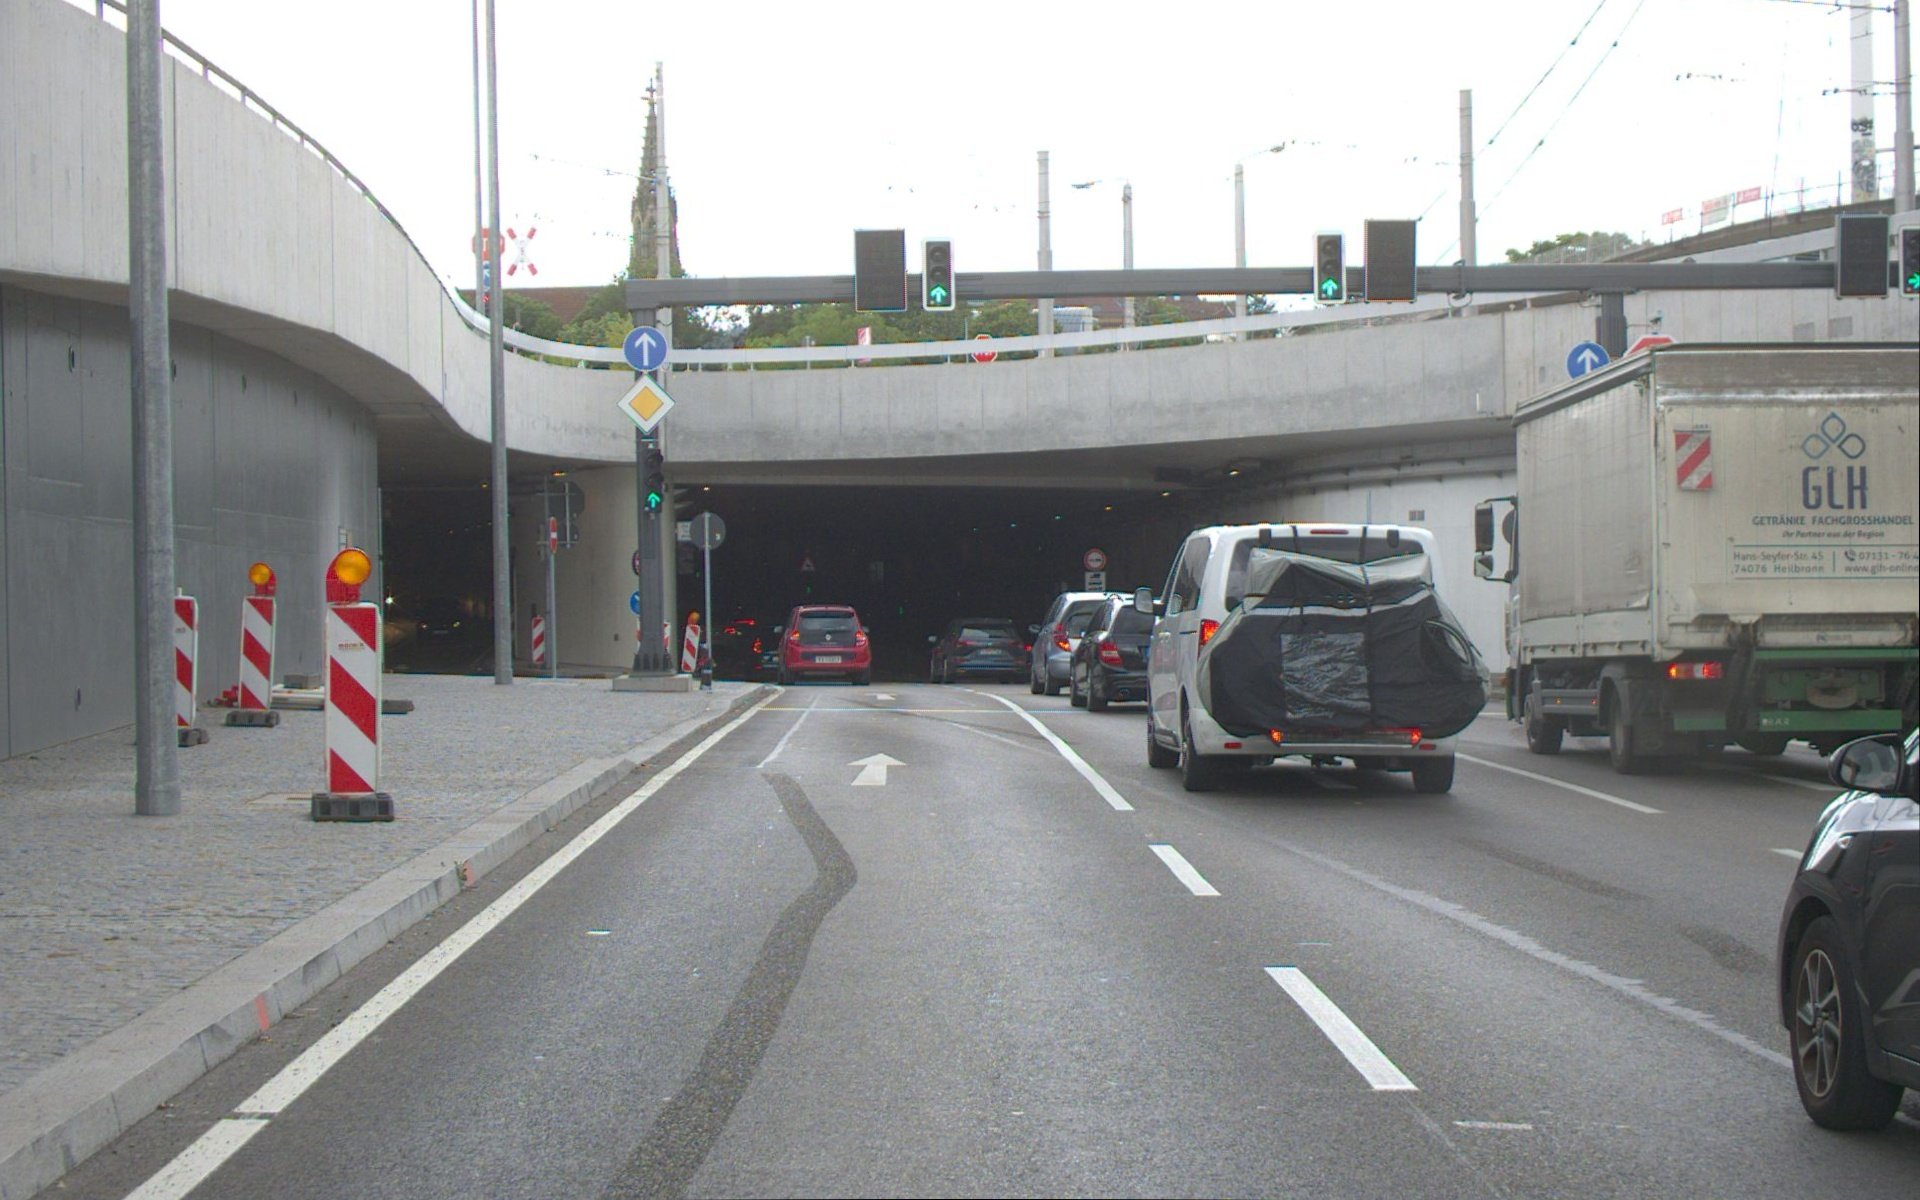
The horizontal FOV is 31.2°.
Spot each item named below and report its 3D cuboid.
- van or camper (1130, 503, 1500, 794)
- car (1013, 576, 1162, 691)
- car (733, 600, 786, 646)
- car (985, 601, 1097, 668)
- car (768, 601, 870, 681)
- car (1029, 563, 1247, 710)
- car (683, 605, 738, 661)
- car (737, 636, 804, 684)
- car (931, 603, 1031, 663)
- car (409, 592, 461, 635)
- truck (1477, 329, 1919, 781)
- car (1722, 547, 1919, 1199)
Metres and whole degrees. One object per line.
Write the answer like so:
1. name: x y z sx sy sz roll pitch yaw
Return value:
1. van or camper: 2.418 0.367 24.834 1.993 1.839 5.508 1 -1 -1
2. car: 1.890 0.484 52.205 1.818 1.575 4.000 3 0 -3
3. car: -8.190 0.923 139.994 1.993 1.767 4.001 0 1 -6
4. car: 2.036 0.894 87.951 1.989 1.670 4.509 0 -1 -10
5. car: -2.750 0.801 66.393 1.659 1.483 3.567 0 -1 -8
6. car: 2.104 0.417 41.795 1.818 1.678 4.001 1 0 -9
7. car: -9.264 1.203 127.683 1.993 2.007 4.001 0 1 -4
8. car: -5.064 1.586 91.717 1.508 1.243 3.567 0 -1 -8
9. car: 0.428 0.720 73.702 1.663 1.243 3.567 0 -1 -8
10. car: -18.395 0.460 120.499 1.664 1.436 4.114 0 0 -7
11. truck: 6.190 -0.330 28.024 2.649 3.174 7.426 -1 0 -1
12. car: 3.131 0.673 7.979 1.682 1.539 3.693 1 1 -3
